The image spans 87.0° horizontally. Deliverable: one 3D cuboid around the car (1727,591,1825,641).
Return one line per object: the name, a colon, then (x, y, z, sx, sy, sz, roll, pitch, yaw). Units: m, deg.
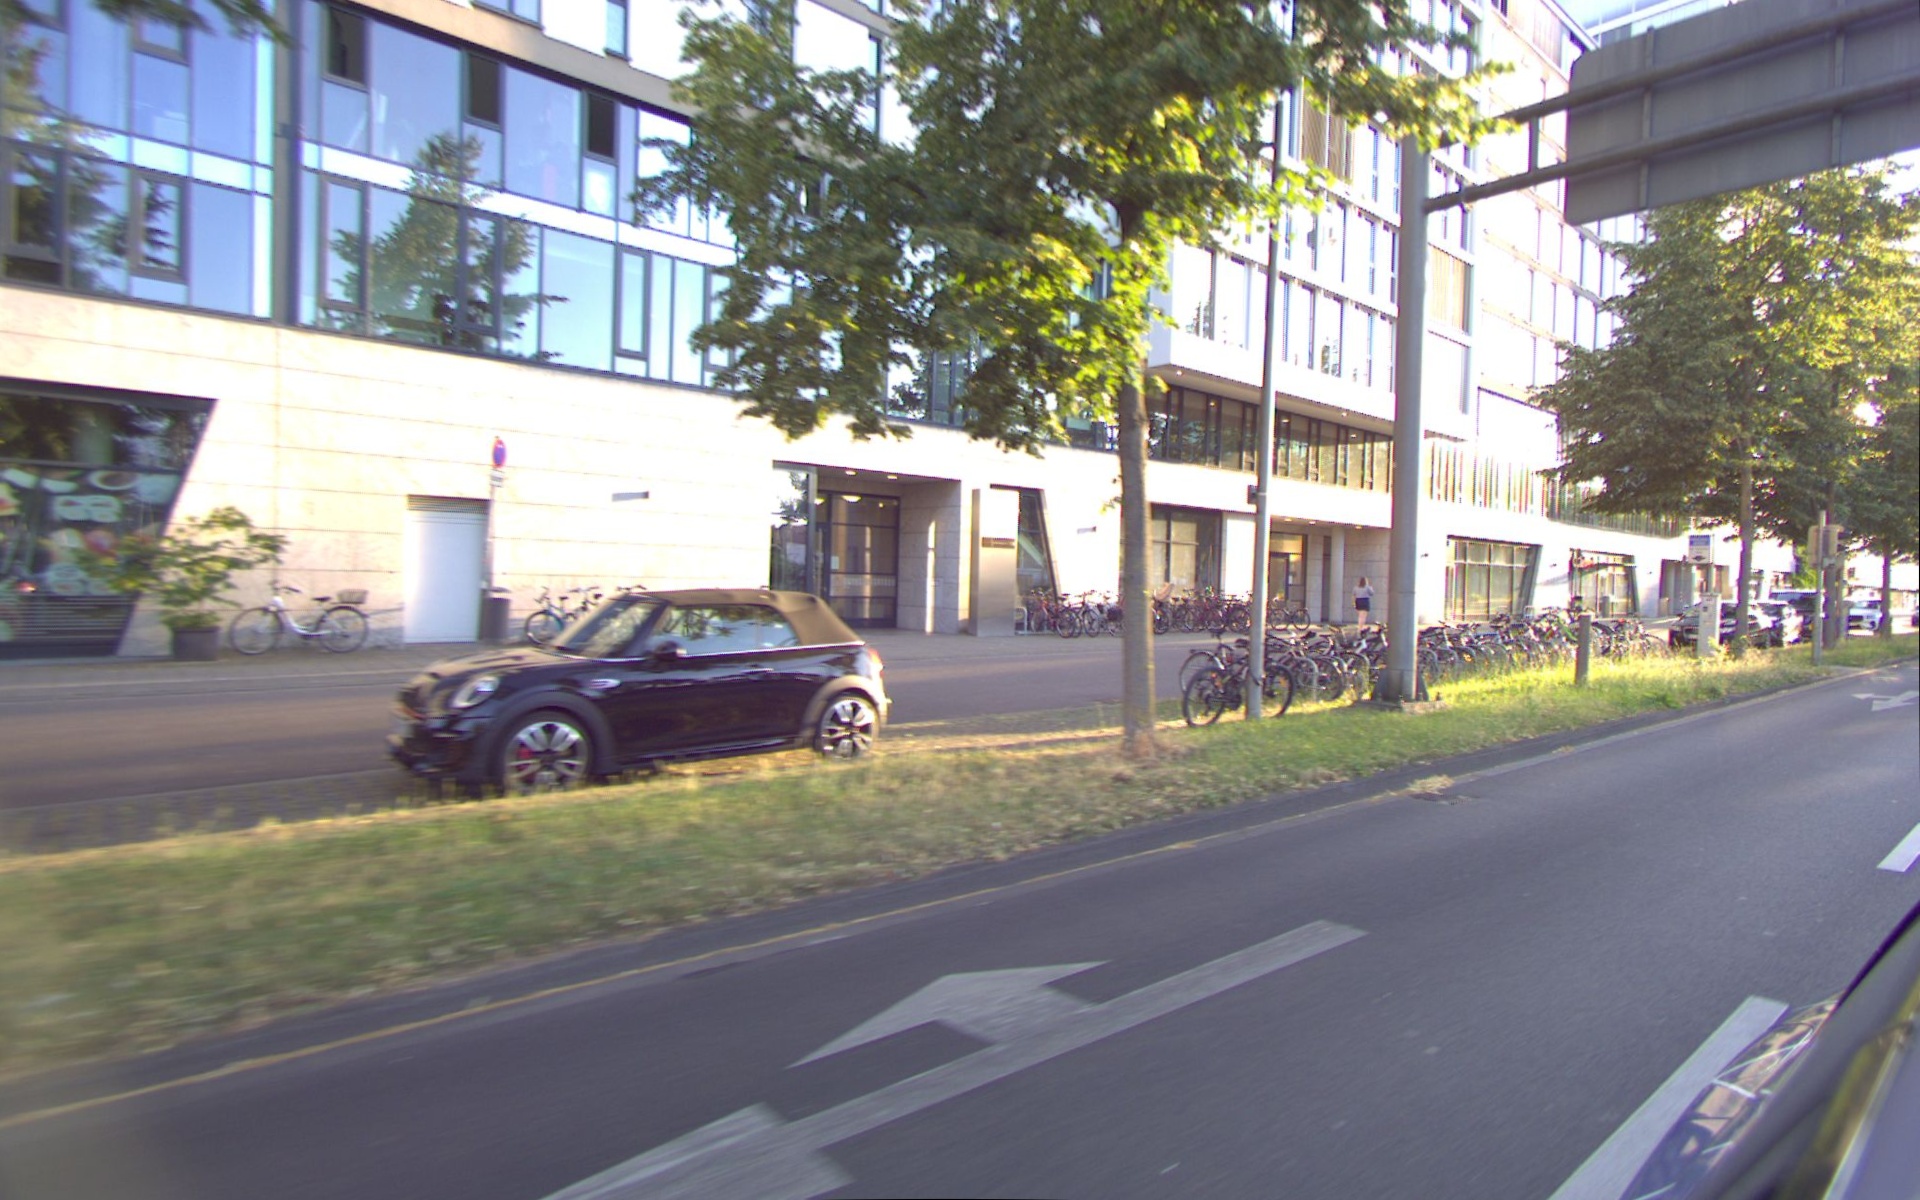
car: (26.986, 0.492, 33.421, 4.585, 1.489, 1.812, 0, 2, -42)

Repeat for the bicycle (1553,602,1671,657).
bicycle: (13.327, 0.609, 20.729, 1.941, 1.067, 0.536, -2, -2, 43)

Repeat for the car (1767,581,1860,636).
car: (31.519, 0.274, 37.337, 4.585, 1.875, 1.997, 0, 2, -42)

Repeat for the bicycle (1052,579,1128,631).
bicycle: (3.181, 0.105, 24.958, 0.495, 1.182, 1.985, 1, 1, -42)

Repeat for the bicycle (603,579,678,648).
bicycle: (-5.634, 0.214, 17.773, 0.500, 1.118, 1.786, 0, 1, -44)

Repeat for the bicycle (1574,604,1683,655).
bicycle: (14.666, 0.657, 22.231, 1.935, 1.067, 0.538, -2, -2, 36)

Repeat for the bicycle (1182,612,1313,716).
bicycle: (3.034, 0.634, 10.584, 1.813, 0.992, 0.319, 0, 1, -39)

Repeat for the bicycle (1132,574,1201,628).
bicycle: (5.540, 0.011, 27.235, 0.495, 1.374, 1.833, 1, 1, -42)

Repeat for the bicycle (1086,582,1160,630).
bicycle: (4.165, 0.142, 25.953, 0.495, 1.155, 1.985, 1, 1, -42)

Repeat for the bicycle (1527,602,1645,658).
bicycle: (12.480, 0.604, 20.214, 1.941, 1.067, 0.402, -2, -2, 43)

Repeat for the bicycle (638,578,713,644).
bicycle: (-5.142, 0.176, 18.214, 0.500, 1.118, 1.786, 0, 1, -44)

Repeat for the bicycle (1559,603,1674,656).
bicycle: (13.751, 0.628, 21.237, 1.938, 1.067, 0.537, -2, -2, 40)

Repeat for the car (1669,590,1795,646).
car: (22.359, 0.482, 29.242, 4.563, 1.428, 1.873, 0, 2, -39)

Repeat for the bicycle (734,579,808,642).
bicycle: (-3.660, 0.180, 19.522, 0.500, 1.118, 1.786, 0, 1, -44)

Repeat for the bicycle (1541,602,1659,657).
bicycle: (12.889, 0.598, 20.436, 1.941, 1.067, 0.402, -2, -2, 43)

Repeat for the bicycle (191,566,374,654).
bicycle: (-10.003, 0.137, 15.010, 2.220, 1.223, 0.471, 0, 1, -37)

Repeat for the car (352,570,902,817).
car: (-2.463, 0.551, 7.983, 3.812, 1.490, 1.579, 0, 1, -40)

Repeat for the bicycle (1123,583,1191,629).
bicycle: (5.195, 0.147, 26.799, 0.495, 1.135, 1.833, 1, 1, -42)

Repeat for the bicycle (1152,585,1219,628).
bicycle: (6.208, 0.162, 27.949, 0.495, 1.127, 1.833, 1, 1, -42)

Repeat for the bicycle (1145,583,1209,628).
bicycle: (5.895, 0.141, 27.577, 0.366, 1.138, 1.833, 1, 1, -42)

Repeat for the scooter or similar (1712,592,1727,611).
scooter or similar: (48.614, 0.085, 64.780, 1.206, 1.226, 0.473, 0, 1, -39)

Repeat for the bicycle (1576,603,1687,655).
bicycle: (14.330, 0.620, 21.631, 1.935, 1.067, 0.538, -2, -2, 36)

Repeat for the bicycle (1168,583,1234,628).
bicycle: (6.718, 0.139, 28.288, 0.495, 1.192, 1.833, 1, 1, -42)

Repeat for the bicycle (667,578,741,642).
bicycle: (-4.752, 0.161, 18.697, 0.500, 1.118, 1.786, 0, 1, -44)

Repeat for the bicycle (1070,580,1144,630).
bicycle: (3.695, 0.107, 25.608, 0.495, 1.197, 1.985, 1, 1, -42)

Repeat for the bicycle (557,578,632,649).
bicycle: (-6.262, 0.203, 17.287, 0.500, 1.118, 1.786, 0, 1, -44)

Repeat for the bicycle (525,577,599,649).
bicycle: (-6.681, 0.196, 16.938, 0.500, 1.118, 1.786, 0, 1, -44)

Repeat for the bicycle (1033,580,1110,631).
bicycle: (2.673, 0.109, 24.448, 0.495, 1.156, 1.985, 1, 1, -42)

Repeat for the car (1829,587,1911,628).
car: (40.725, 0.306, 45.248, 4.791, 1.663, 1.998, 0, 2, -40)

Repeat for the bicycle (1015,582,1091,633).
bicycle: (2.220, 0.158, 24.343, 0.495, 1.156, 1.985, 1, 1, -42)

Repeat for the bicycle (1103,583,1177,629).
bicycle: (4.667, 0.147, 26.381, 0.495, 1.113, 1.985, 1, 1, -42)
